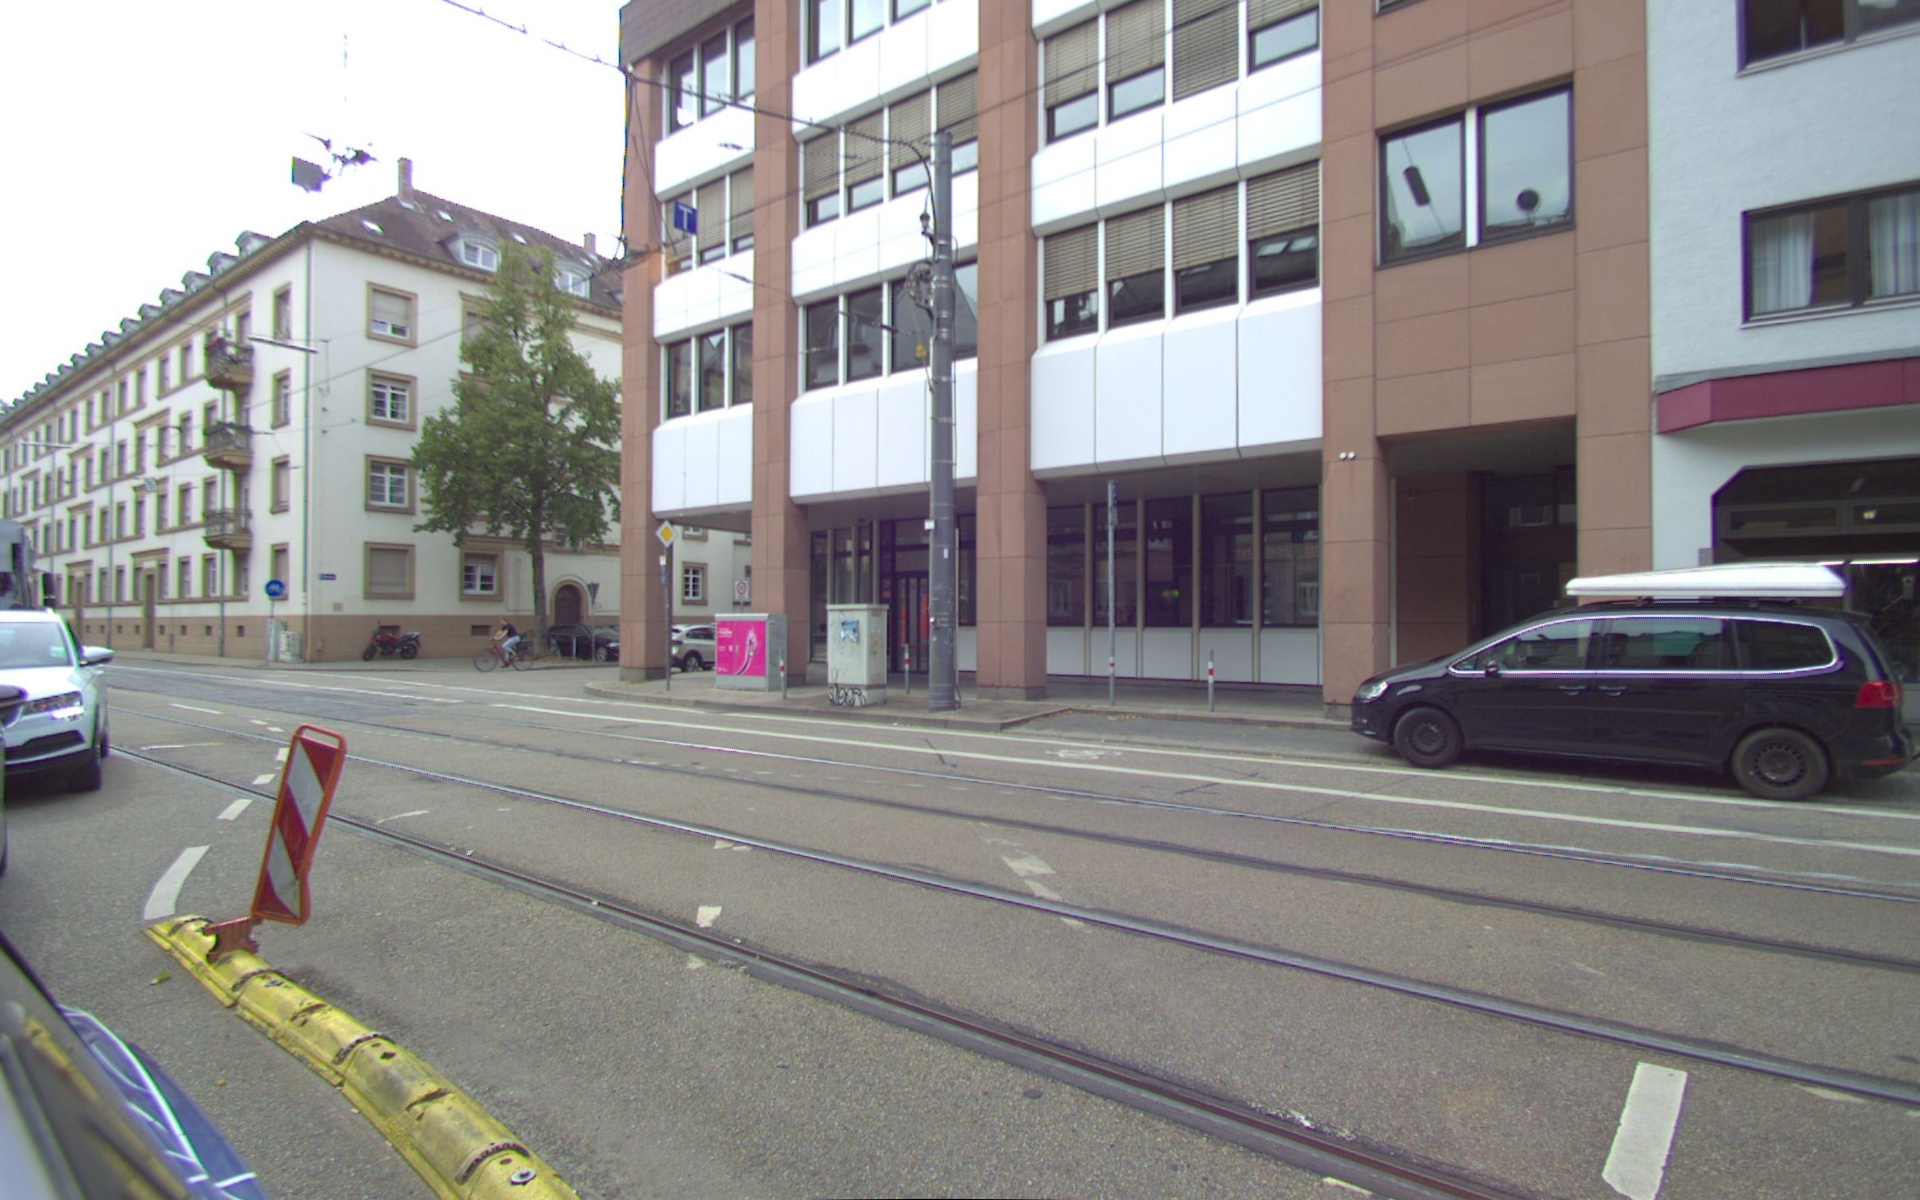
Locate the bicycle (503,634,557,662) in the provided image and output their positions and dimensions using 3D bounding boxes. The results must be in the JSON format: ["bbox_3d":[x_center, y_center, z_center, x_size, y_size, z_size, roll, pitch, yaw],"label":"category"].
[{"bbox_3d":[-17.562,1.937,41.387,0.792,1.094,1.900,-2,-2,39],"label":"bicycle"}]

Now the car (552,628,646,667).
[{"bbox_3d":[-13.803,1.772,38.634,3.869,1.407,1.591,-1,-2,38],"label":"car"}]

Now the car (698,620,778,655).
[{"bbox_3d":[-9.847,1.652,44.781,3.520,1.473,1.572,-1,-2,38],"label":"car"}]

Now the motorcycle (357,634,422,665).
[{"bbox_3d":[-20.890,1.800,37.082,0.792,1.094,1.900,-2,-2,39],"label":"motorcycle"}]

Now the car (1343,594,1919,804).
[{"bbox_3d":[6.560,0.837,10.230,4.694,1.659,1.789,-2,0,40],"label":"car"}]

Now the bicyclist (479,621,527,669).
[{"bbox_3d":[-14.435,1.420,31.978,1.241,1.473,0.678,1,-3,-43],"label":"bicyclist"}]

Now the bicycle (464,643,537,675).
[{"bbox_3d":[-14.471,1.854,31.919,1.982,0.972,0.673,1,-3,-44],"label":"bicycle"}]

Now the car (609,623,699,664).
[{"bbox_3d":[-12.253,1.708,40.431,3.711,1.559,1.591,-1,-2,38],"label":"car"}]

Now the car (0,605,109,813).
[{"bbox_3d":[-9.132,0.895,9.217,4.284,1.603,1.749,-2,-1,45],"label":"car"}]

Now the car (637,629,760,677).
[{"bbox_3d":[-7.945,1.580,31.040,1.606,1.399,3.611,-1,-2,31],"label":"car"}]

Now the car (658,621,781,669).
[{"bbox_3d":[-8.752,1.605,36.932,3.985,1.549,1.777,-1,-1,-40],"label":"car"}]

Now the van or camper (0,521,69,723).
[{"bbox_3d":[-20.319,0.467,19.960,9.642,3.447,2.575,-2,-2,39],"label":"van or camper"}]
